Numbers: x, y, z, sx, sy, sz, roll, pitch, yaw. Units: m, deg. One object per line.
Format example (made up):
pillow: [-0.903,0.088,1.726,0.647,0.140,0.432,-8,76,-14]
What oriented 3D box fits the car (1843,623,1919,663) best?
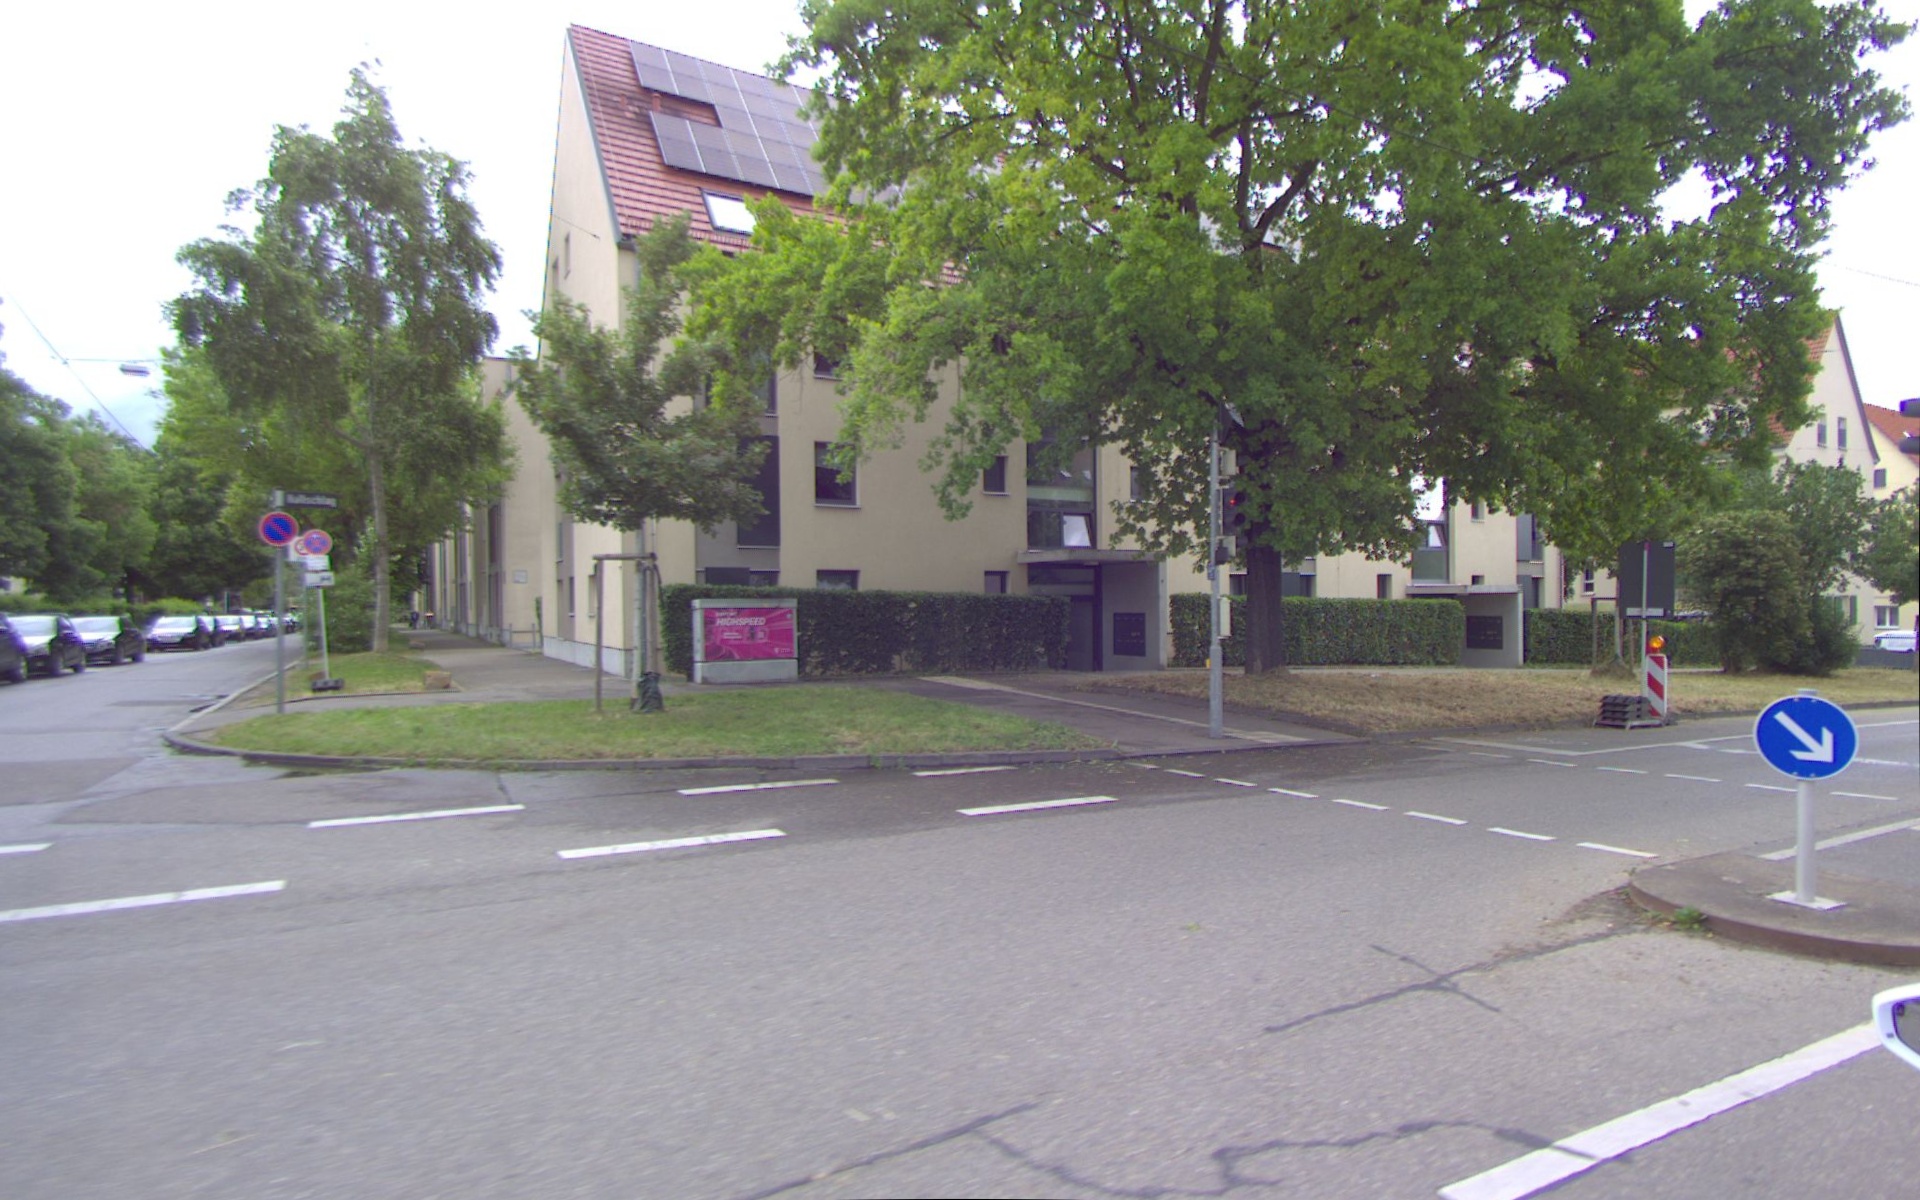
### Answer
car: [55.800,2.570,59.665,1.971,2.283,4.696,2,-1,-30]

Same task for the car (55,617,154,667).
car: [-25.431,1.215,29.976,1.519,1.330,3.512,2,0,-29]

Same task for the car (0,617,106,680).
car: [-21.900,1.111,24.044,1.519,1.330,3.512,2,0,-29]

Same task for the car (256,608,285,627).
car: [-53.798,1.351,78.407,1.519,1.330,3.512,2,0,-29]

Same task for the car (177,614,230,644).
car: [-36.130,1.362,48.031,1.519,1.330,3.512,2,0,-29]

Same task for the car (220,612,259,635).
car: [-44.722,1.464,62.369,1.519,1.330,3.512,2,0,-29]

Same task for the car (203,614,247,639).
car: [-41.754,1.501,57.091,1.519,1.330,3.512,2,0,-29]

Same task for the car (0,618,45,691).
car: [-19.653,1.064,19.827,1.519,1.330,3.512,2,0,-29]

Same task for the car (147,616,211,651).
car: [-32.793,1.387,42.250,1.519,1.330,3.512,2,0,-29]
